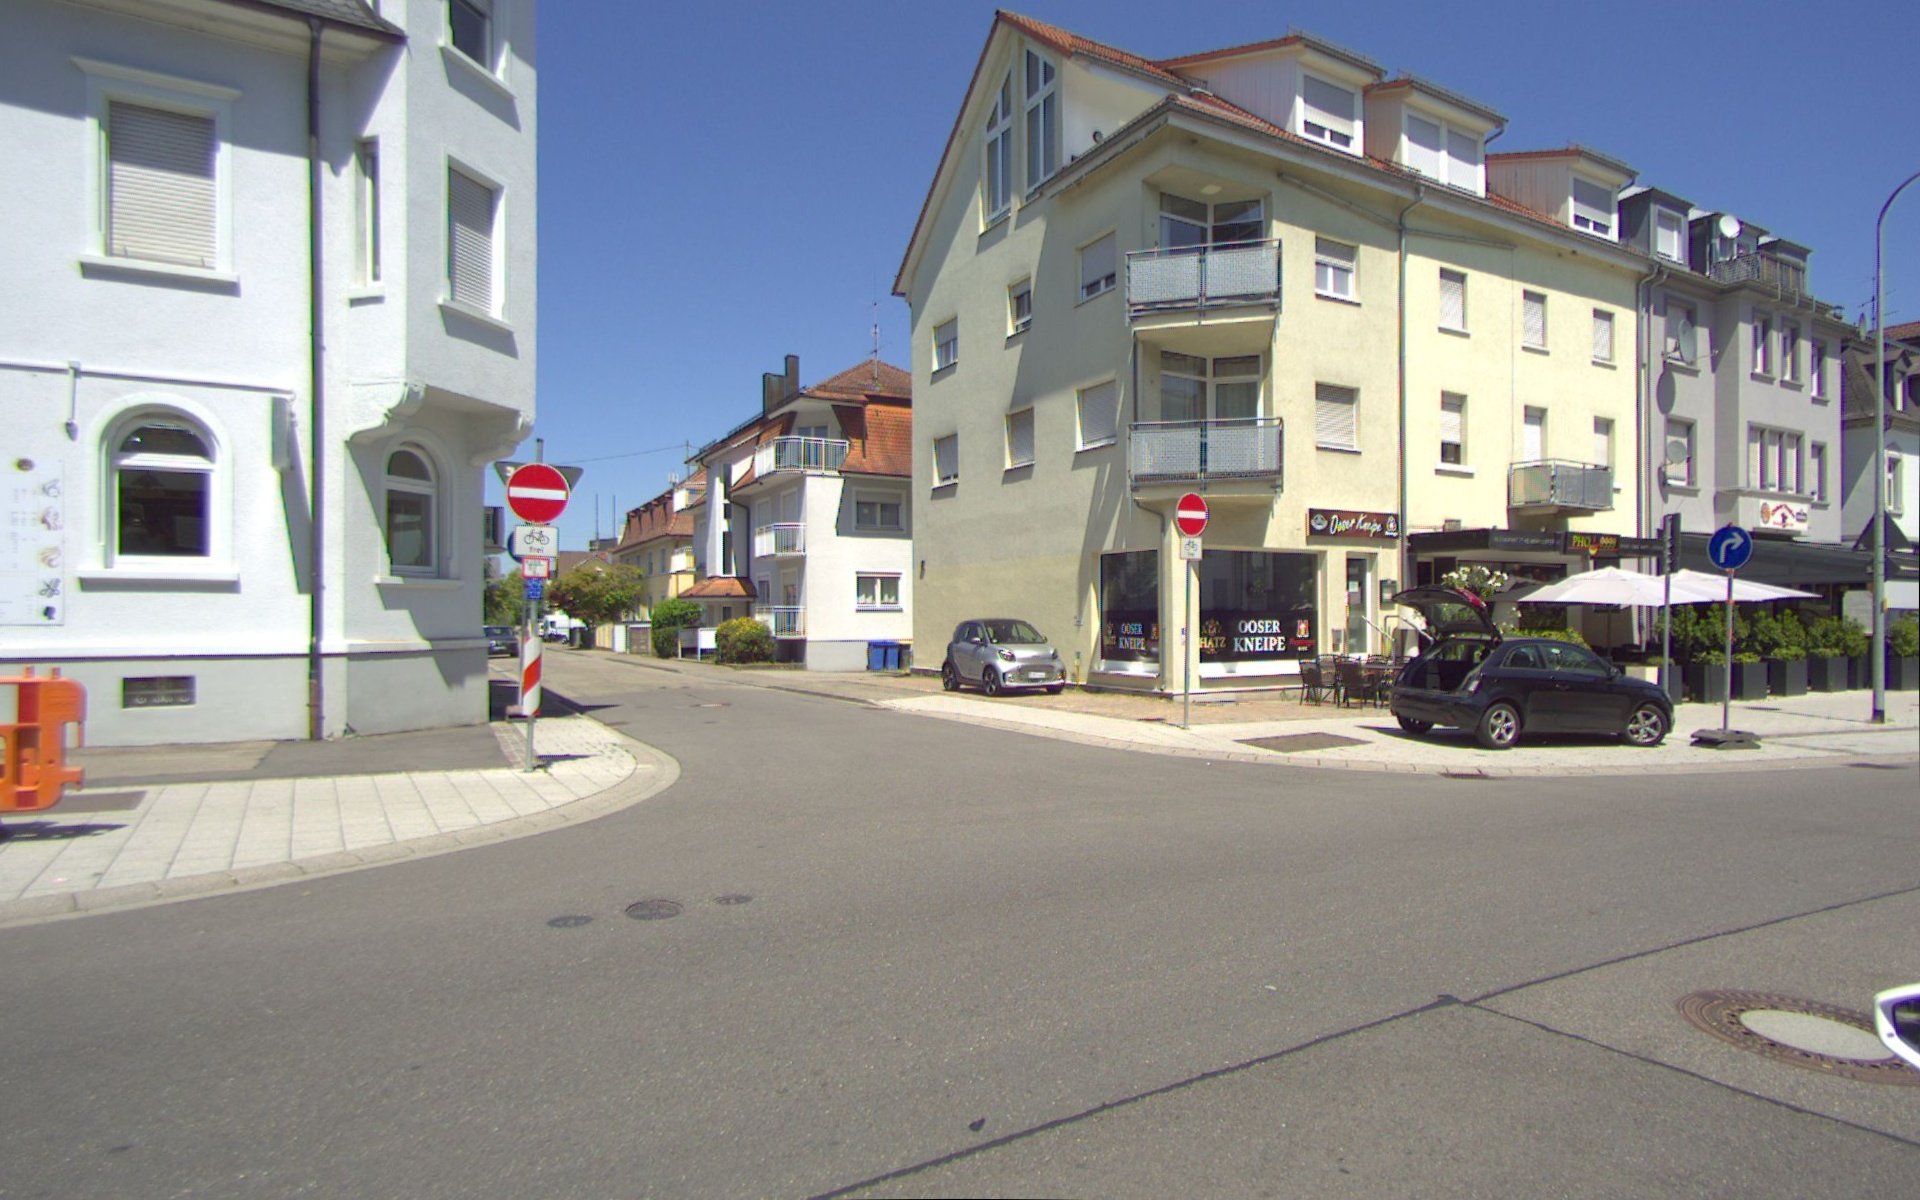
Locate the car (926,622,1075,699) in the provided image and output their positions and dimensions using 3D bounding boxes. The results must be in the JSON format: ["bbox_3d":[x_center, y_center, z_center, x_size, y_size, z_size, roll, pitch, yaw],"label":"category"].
[{"bbox_3d":[0.792,1.215,21.240,1.672,1.477,3.246,0,-1,-31],"label":"car"}]

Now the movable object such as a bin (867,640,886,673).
[{"bbox_3d":[-3.093,2.109,37.386,0.534,1.209,0.590,1,-2,-25],"label":"movable object such as a bin"}]

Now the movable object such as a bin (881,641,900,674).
[{"bbox_3d":[-2.588,2.137,37.617,0.534,1.209,0.590,1,-2,-25],"label":"movable object such as a bin"}]

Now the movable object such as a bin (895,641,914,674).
[{"bbox_3d":[-2.078,2.166,37.866,0.534,1.209,0.590,1,-2,-25],"label":"movable object such as a bin"}]

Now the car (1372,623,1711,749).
[{"bbox_3d":[7.973,1.143,13.843,4.063,1.480,1.712,2,1,-17],"label":"car"}]

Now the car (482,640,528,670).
[{"bbox_3d":[-23.537,2.821,51.854,1.974,1.439,3.972,1,-2,-27],"label":"car"}]
